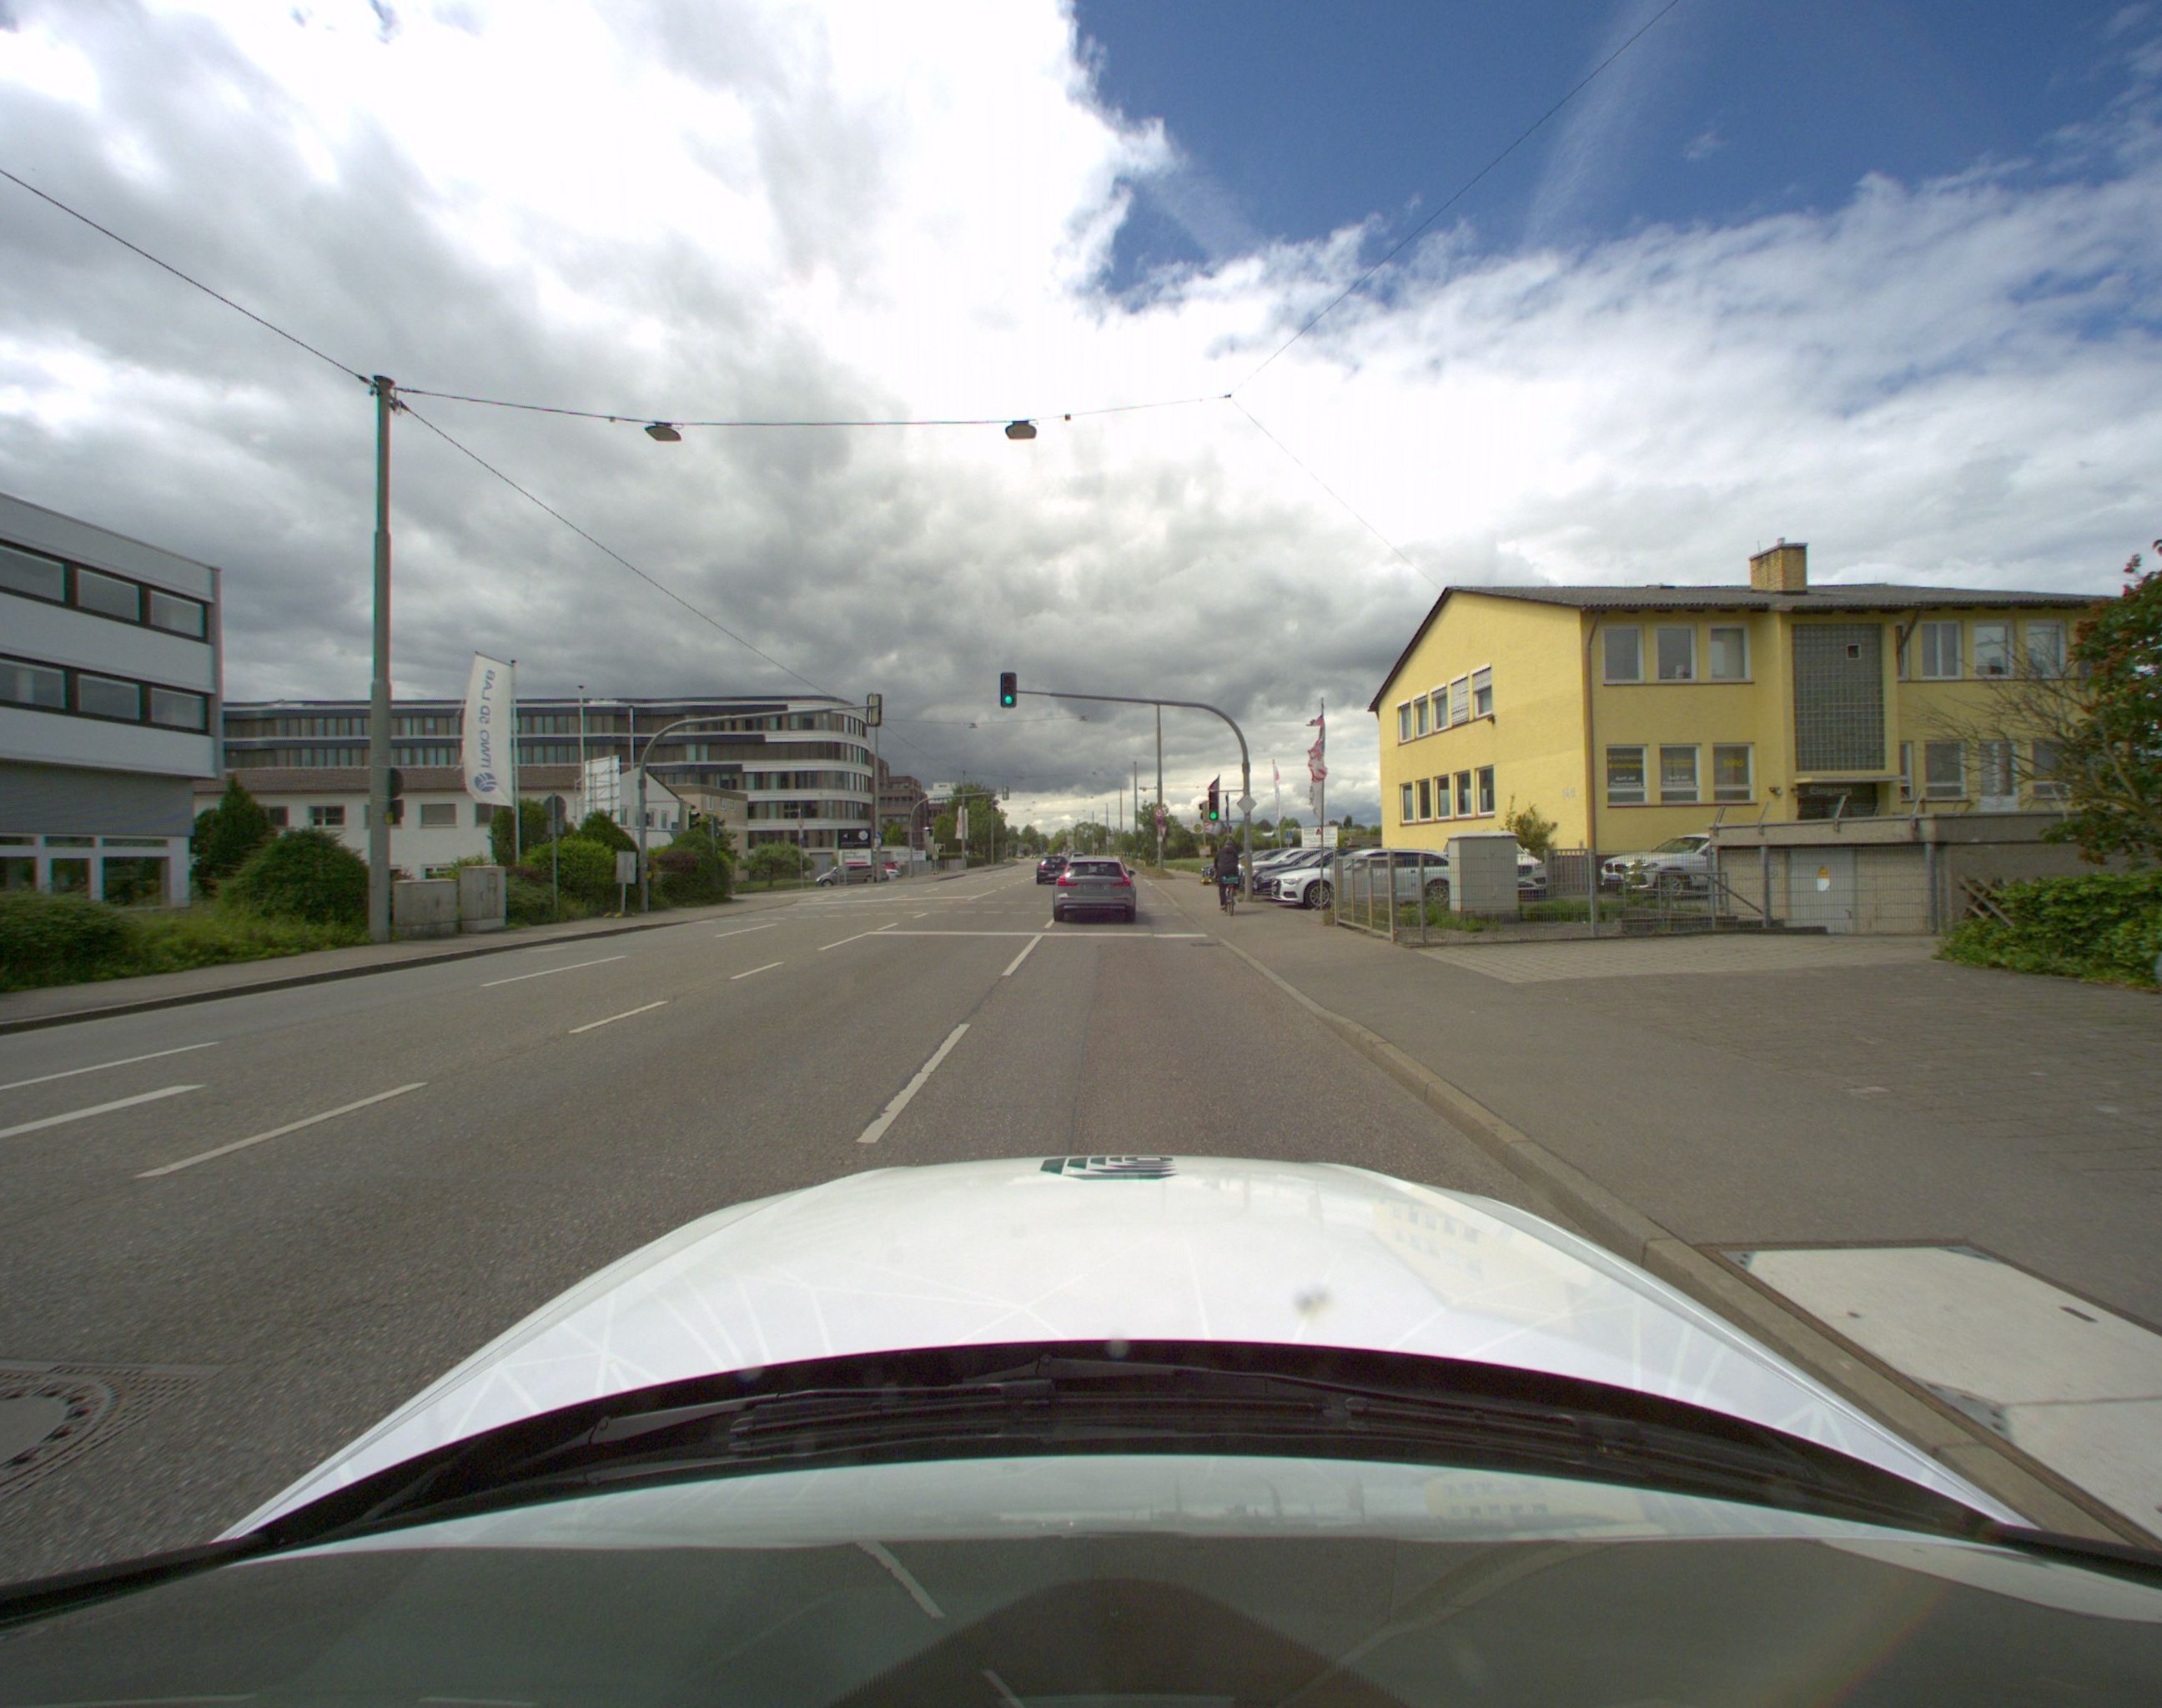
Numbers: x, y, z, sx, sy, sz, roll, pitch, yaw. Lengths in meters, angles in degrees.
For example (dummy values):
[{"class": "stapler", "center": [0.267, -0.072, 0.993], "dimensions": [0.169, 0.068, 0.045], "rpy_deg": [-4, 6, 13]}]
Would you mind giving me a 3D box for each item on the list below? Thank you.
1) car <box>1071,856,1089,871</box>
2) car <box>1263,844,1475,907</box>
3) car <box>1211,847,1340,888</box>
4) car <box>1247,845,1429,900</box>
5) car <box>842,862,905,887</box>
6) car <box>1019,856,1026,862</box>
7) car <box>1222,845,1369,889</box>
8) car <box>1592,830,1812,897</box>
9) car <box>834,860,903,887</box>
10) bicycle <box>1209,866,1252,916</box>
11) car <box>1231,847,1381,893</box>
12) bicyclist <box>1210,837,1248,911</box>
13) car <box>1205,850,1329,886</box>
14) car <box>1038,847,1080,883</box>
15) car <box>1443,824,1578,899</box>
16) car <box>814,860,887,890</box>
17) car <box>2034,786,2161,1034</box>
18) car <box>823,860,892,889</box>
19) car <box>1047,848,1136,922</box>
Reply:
[{"class": "car", "center": [-0.116, 1.061, 93.894], "dimensions": [1.987, 1.695, 4.000], "rpy_deg": [1, -1, 1]}, {"class": "car", "center": [7.168, 0.513, 20.666], "dimensions": [4.681, 1.493, 2.046], "rpy_deg": [0, 0, 0]}, {"class": "car", "center": [7.542, 0.519, 31.963], "dimensions": [4.658, 1.493, 2.016], "rpy_deg": [1, 0, 2]}, {"class": "car", "center": [7.324, 0.516, 23.542], "dimensions": [4.643, 1.493, 2.035], "rpy_deg": [-1, 0, 1]}, {"class": "car", "center": [-15.130, 1.479, 59.533], "dimensions": [3.976, 1.369, 1.847], "rpy_deg": [-7, -1, -1]}, {"class": "car", "center": [-18.134, 1.530, 251.448], "dimensions": [1.876, 1.717, 3.998], "rpy_deg": [1, -1, -1]}, {"class": "car", "center": [7.606, 0.448, 29.228], "dimensions": [4.781, 1.480, 2.033], "rpy_deg": [1, 0, 2]}, {"class": "car", "center": [15.431, 0.233, 20.390], "dimensions": [4.114, 1.581, 1.858], "rpy_deg": [0, 0, 0]}, {"class": "car", "center": [-14.794, 1.347, 56.818], "dimensions": [4.217, 1.387, 1.981], "rpy_deg": [-7, -1, -5]}, {"class": "bicycle", "center": [3.533, 0.847, 19.419], "dimensions": [0.635, 1.063, 1.978], "rpy_deg": [-5, 0, 2]}, {"class": "car", "center": [7.216, 0.489, 26.428], "dimensions": [4.355, 1.404, 1.988], "rpy_deg": [0, 0, -1]}, {"class": "bicyclist", "center": [3.503, 0.470, 19.353], "dimensions": [0.635, 1.675, 0.890], "rpy_deg": [-5, 0, 1]}, {"class": "car", "center": [7.828, 0.574, 34.650], "dimensions": [4.834, 1.430, 2.039], "rpy_deg": [1, 0, 1]}, {"class": "car", "center": [-1.065, 0.558, 40.703], "dimensions": [1.988, 1.717, 3.998], "rpy_deg": [1, -1, -1]}, {"class": "car", "center": [11.855, 0.239, 22.889], "dimensions": [1.963, 1.821, 5.045], "rpy_deg": [-2, -1, 11]}, {"class": "car", "center": [-14.623, 1.305, 51.894], "dimensions": [4.088, 1.398, 1.904], "rpy_deg": [-7, 1, -6]}, {"class": "car", "center": [7.638, 0.324, 3.467], "dimensions": [1.869, 1.545, 4.521], "rpy_deg": [-2, 0, 0]}, {"class": "car", "center": [-14.905, 1.367, 54.405], "dimensions": [3.976, 1.424, 1.854], "rpy_deg": [-7, -1, -1]}, {"class": "car", "center": [0.322, 0.695, 19.437], "dimensions": [1.888, 1.554, 4.002], "rpy_deg": [1, -1, 3]}]
